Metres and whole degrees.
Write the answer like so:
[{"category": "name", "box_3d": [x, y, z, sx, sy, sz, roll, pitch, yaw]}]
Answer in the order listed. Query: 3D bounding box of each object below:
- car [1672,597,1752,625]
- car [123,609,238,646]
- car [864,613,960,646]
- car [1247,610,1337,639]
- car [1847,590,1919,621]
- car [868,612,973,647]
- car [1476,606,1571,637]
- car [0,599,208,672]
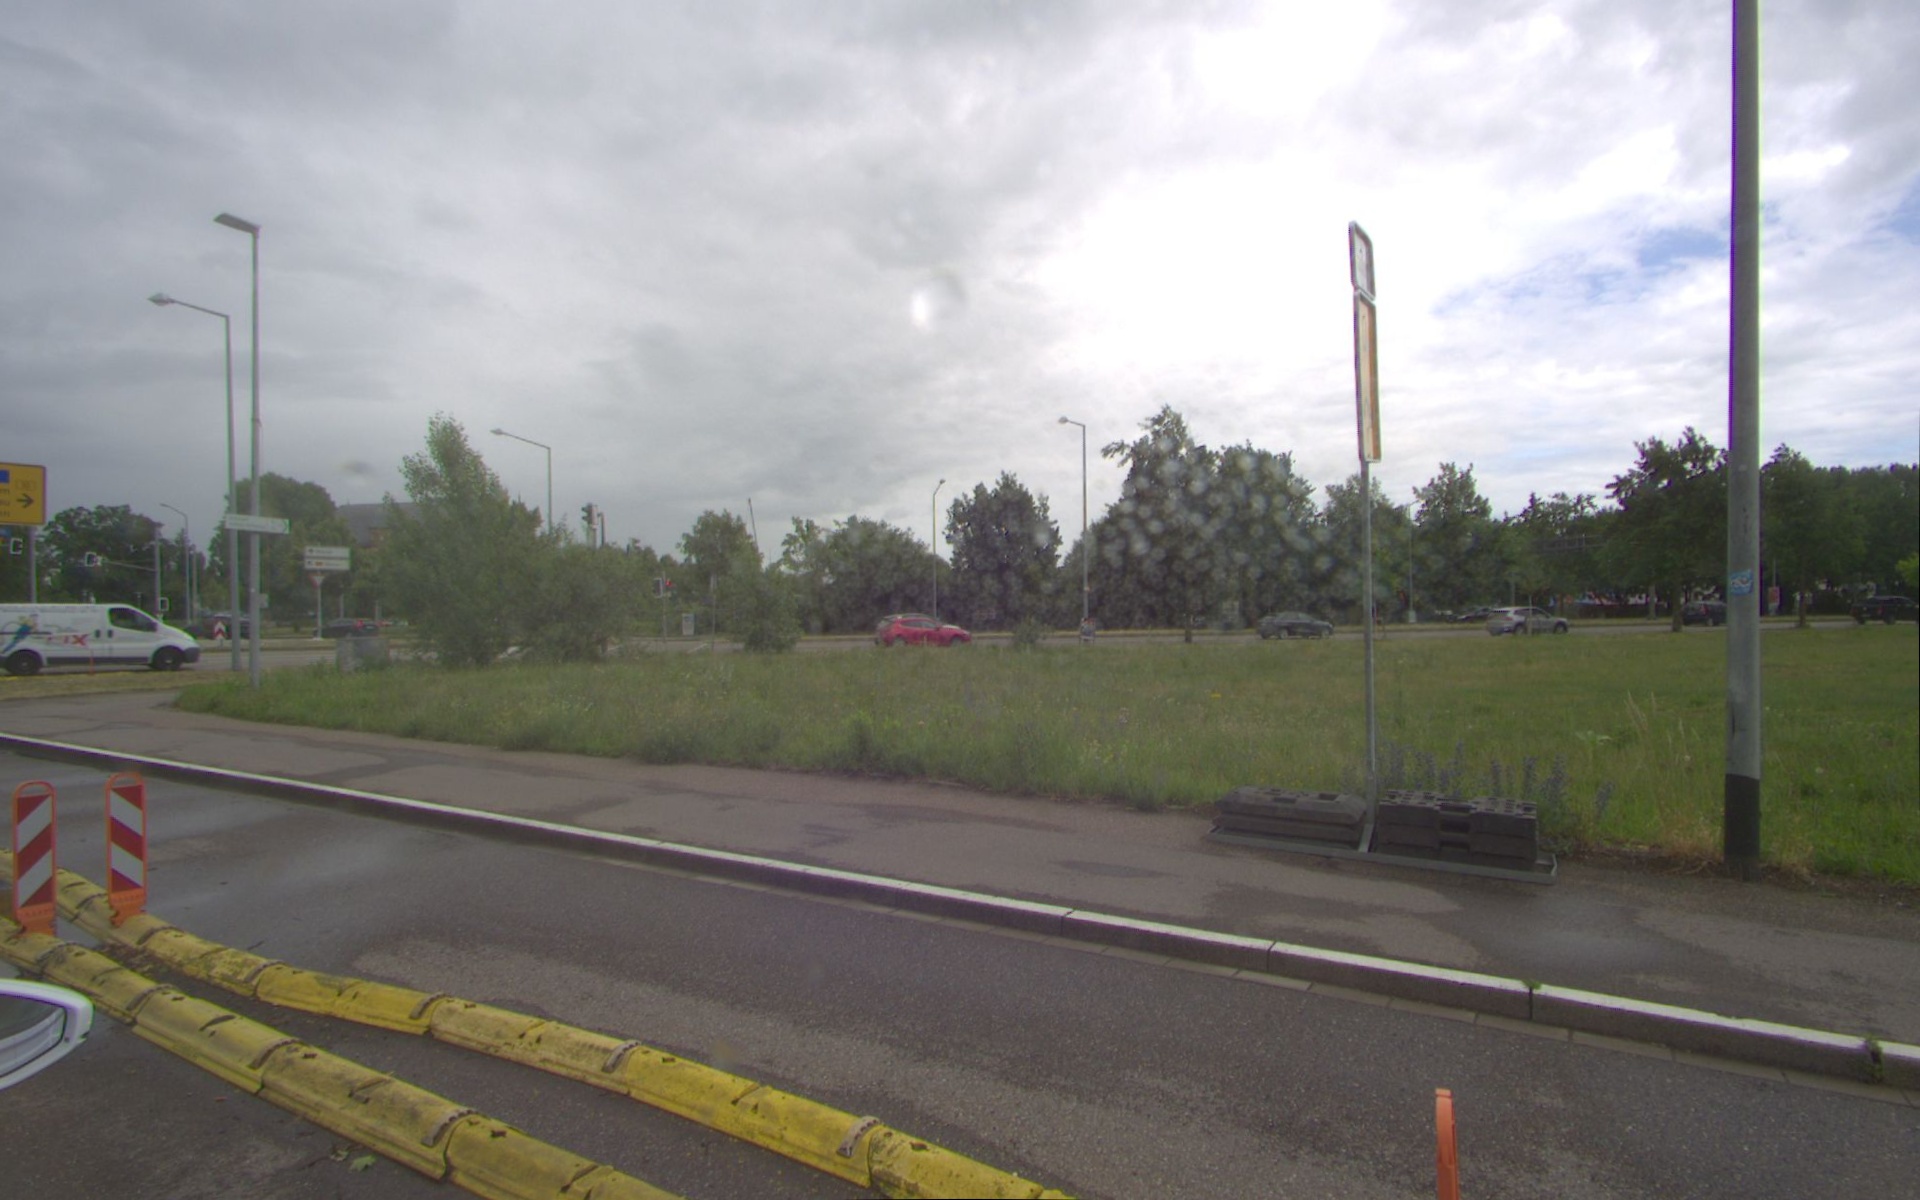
[{"category": "car", "box_3d": [49.380, 0.712, 65.781, 4.131, 1.837, 2.075, 0, 0, -13]}, {"category": "car", "box_3d": [-45.129, 1.554, 58.052, 4.849, 2.040, 1.998, 0, 0, -12]}, {"category": "car", "box_3d": [-2.297, 1.387, 47.576, 4.279, 1.483, 1.858, 0, 0, -16]}, {"category": "car", "box_3d": [17.774, 1.267, 53.714, 4.246, 1.483, 1.996, 0, 0, -18]}, {"category": "car", "box_3d": [61.386, 0.349, 66.126, 4.957, 1.998, 2.218, 0, 0, -21]}, {"category": "car", "box_3d": [-1.780, 1.283, 44.520, 4.283, 1.483, 1.995, 0, 0, -20]}, {"category": "car", "box_3d": [30.318, 1.128, 53.869, 4.453, 1.604, 1.996, 0, 0, -18]}, {"category": "car", "box_3d": [-24.750, 0.941, 28.709, 2.076, 1.925, 4.807, 0, 0, 42]}]
